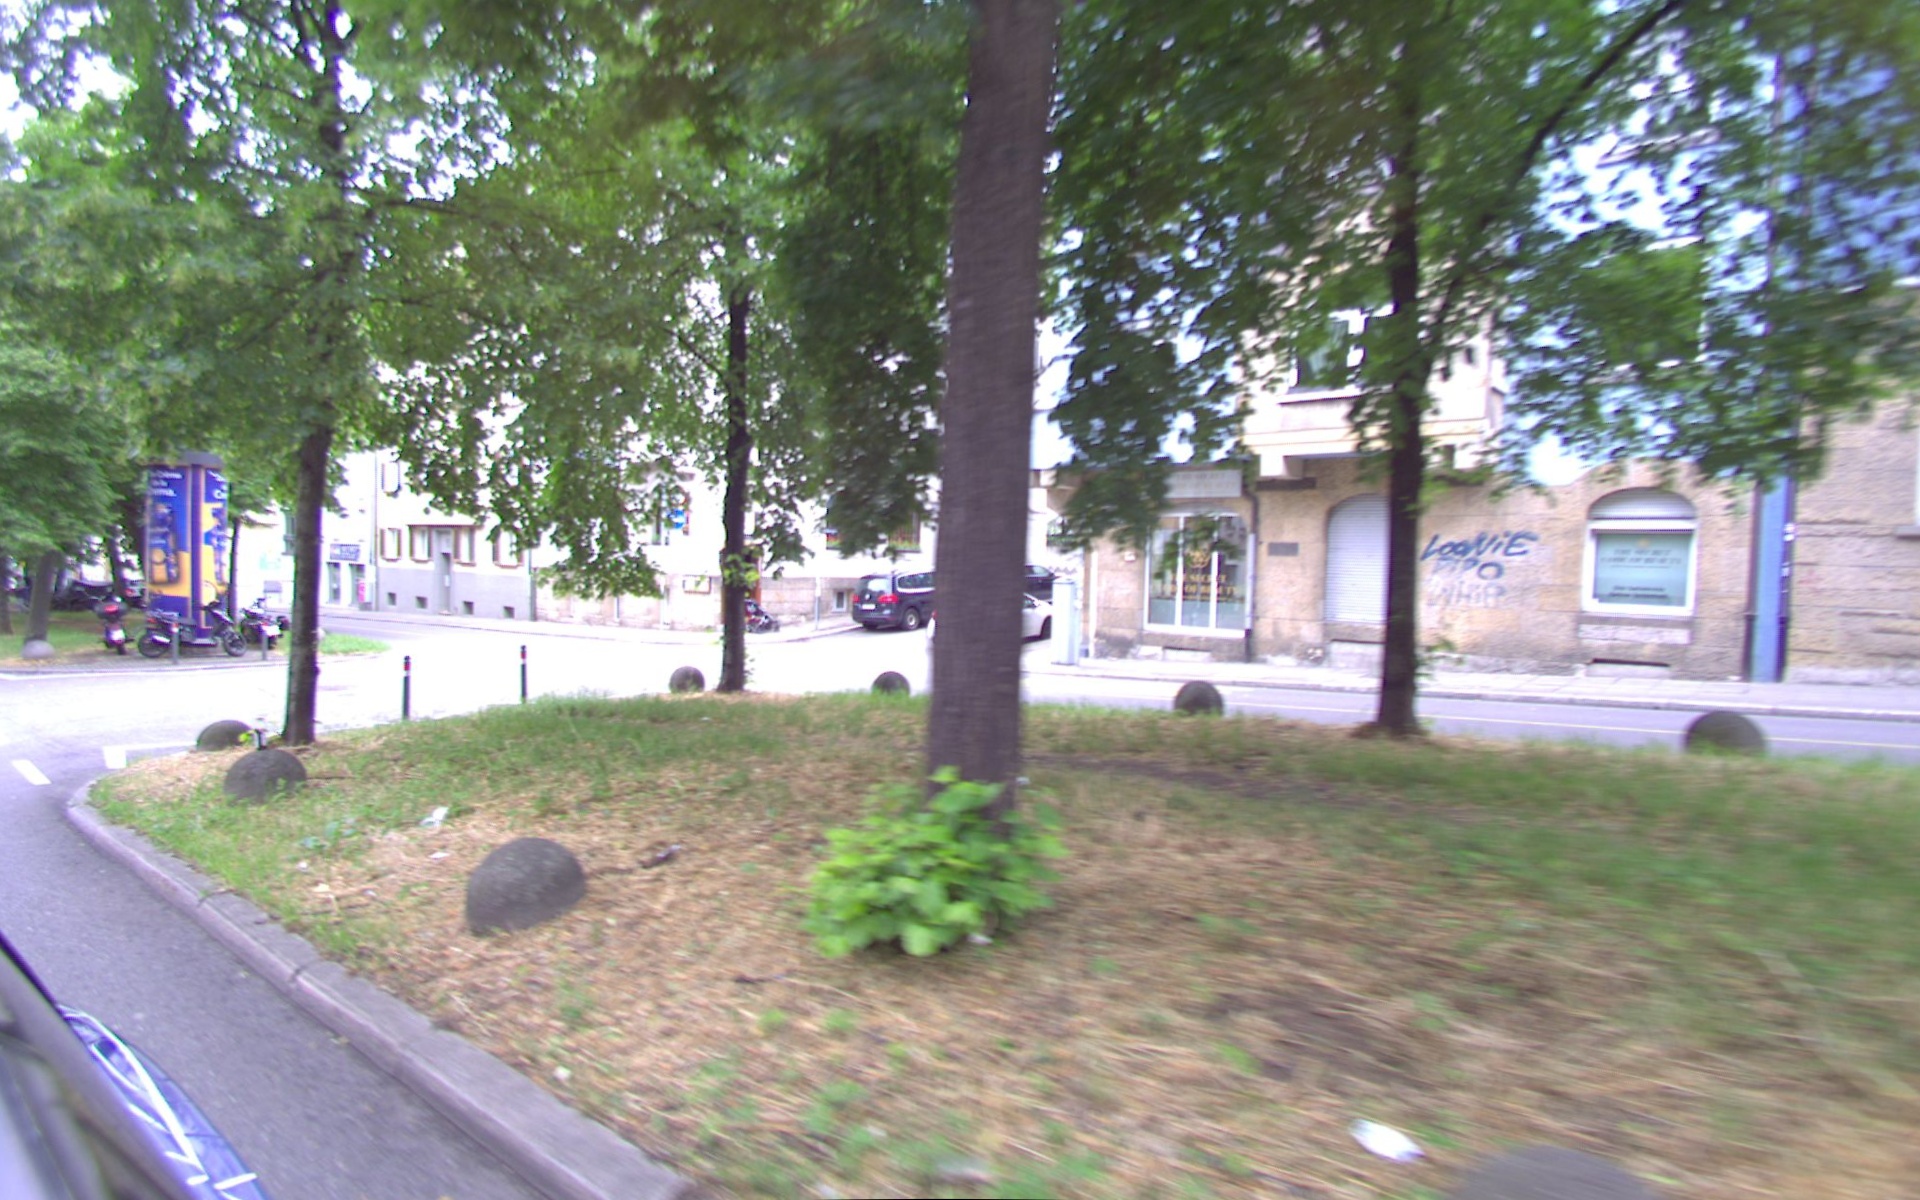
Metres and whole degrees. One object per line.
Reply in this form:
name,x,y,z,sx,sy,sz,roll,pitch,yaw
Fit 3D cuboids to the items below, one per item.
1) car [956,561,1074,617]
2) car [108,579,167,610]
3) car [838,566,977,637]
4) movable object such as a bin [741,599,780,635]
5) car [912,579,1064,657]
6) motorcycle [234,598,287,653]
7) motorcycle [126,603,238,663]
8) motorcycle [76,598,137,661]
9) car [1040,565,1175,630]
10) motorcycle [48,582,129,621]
car,1.898,-0.429,34.094,1.801,1.521,3.944,2,7,44
car,-43.359,-0.283,53.298,4.254,1.575,1.794,0,1,42
car,-1.498,-0.019,30.110,1.871,1.712,3.957,1,6,41
movable object such as a bin,-5.805,0.482,29.469,0.667,1.001,0.877,1,3,39
car,0.800,0.378,25.666,1.869,1.480,3.960,3,7,38
motorcycle,-15.726,0.546,22.733,0.740,1.081,1.854,-1,3,-42
motorcycle,-15.602,0.632,20.326,0.551,1.104,1.712,3,3,44
motorcycle,-17.478,0.562,20.692,0.875,1.104,2.485,-1,3,-42
car,4.388,-0.137,29.659,1.966,1.480,4.099,1,6,41
motorcycle,-35.717,0.071,41.505,0.963,1.494,2.392,4,2,41
